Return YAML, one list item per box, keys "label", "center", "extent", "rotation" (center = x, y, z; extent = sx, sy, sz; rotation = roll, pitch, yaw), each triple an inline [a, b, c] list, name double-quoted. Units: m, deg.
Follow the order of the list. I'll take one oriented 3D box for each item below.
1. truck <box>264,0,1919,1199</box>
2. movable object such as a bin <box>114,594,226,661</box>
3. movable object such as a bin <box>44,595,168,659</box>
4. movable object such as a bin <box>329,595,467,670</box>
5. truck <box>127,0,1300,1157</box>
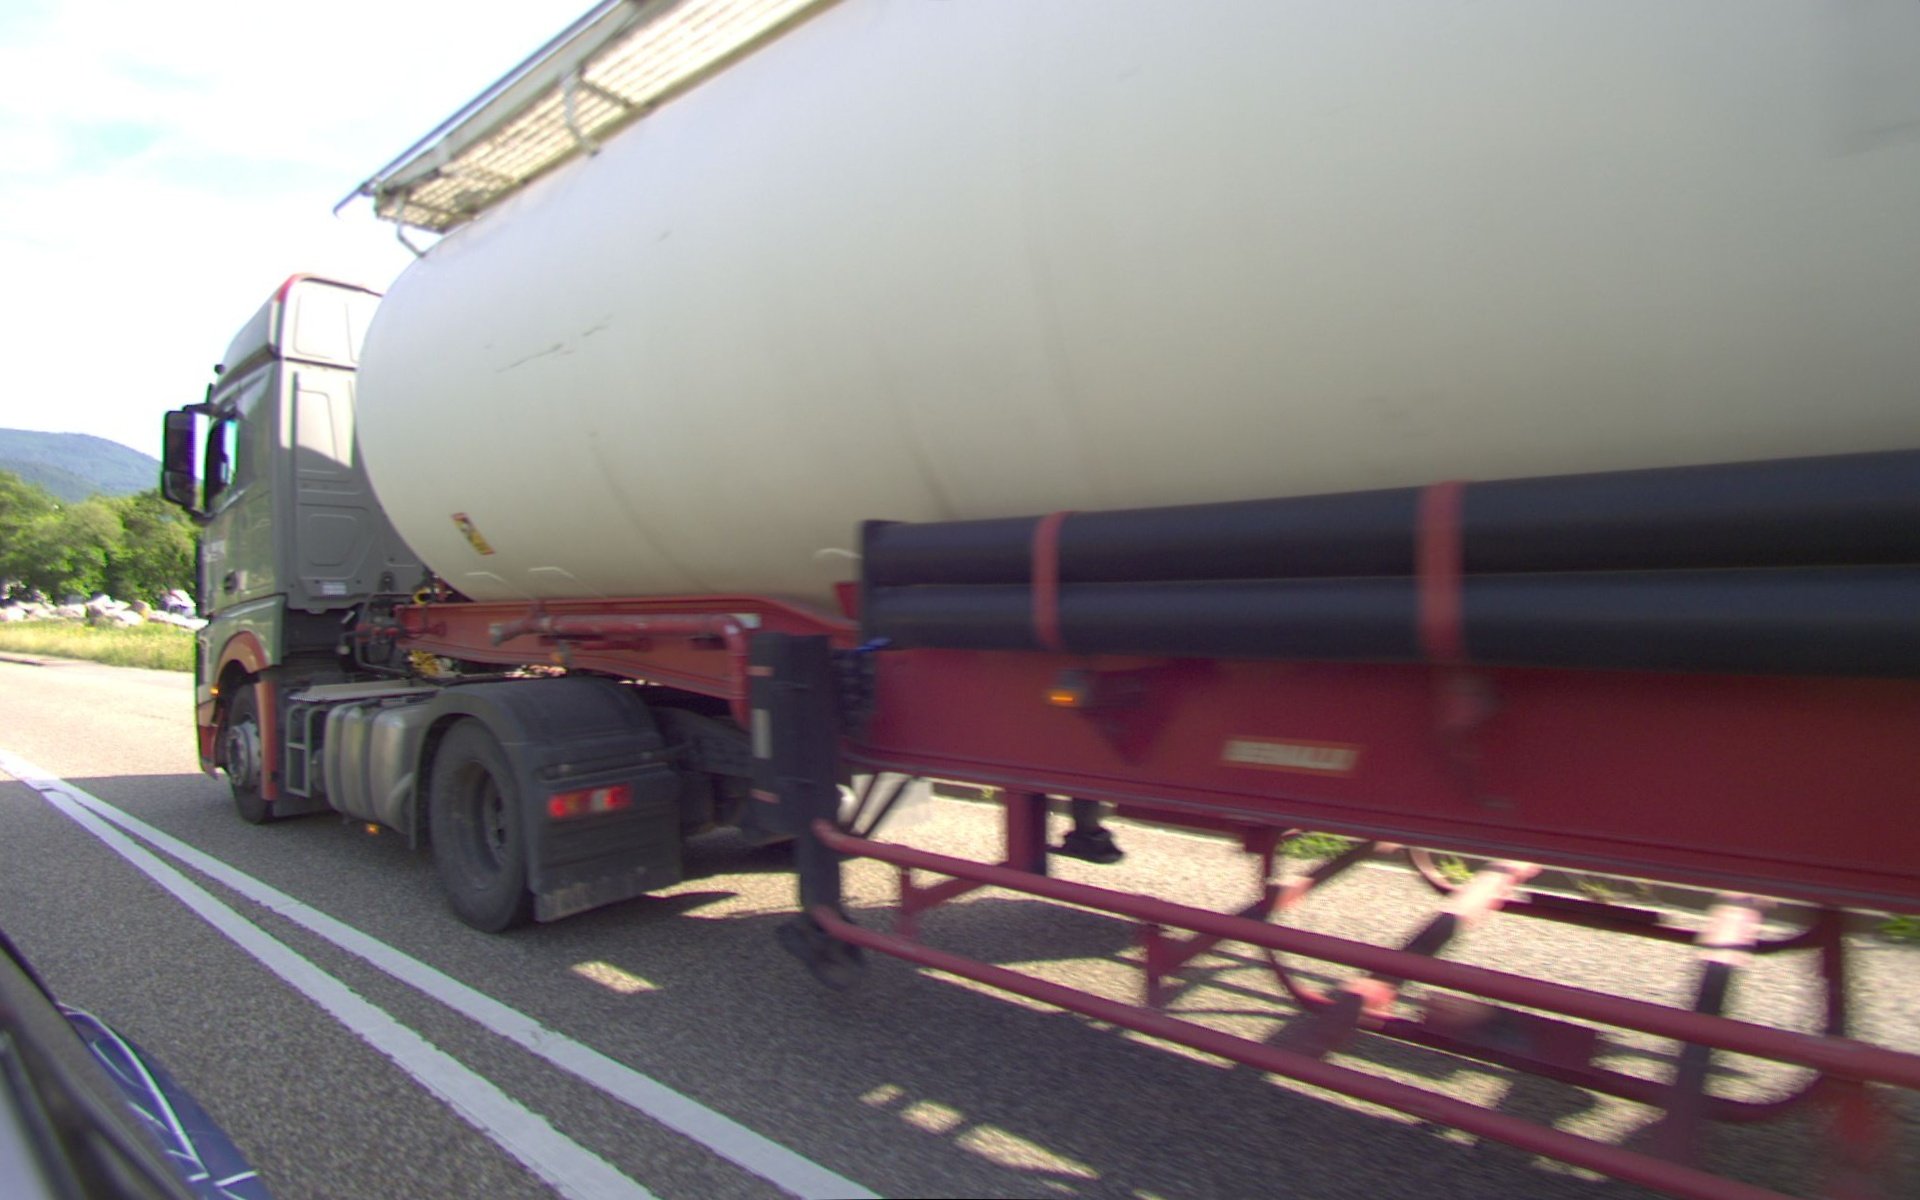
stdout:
- label: "truck"
  center: [2.443, -0.571, 2.139]
  extent: [14.550, 3.864, 2.722]
  rotation: [-2, -2, 40]
- label: "movable object such as a bin"
  center: [-49.565, 1.731, 63.465]
  extent: [7.198, 3.977, 2.703]
  rotation: [0, -4, 29]
- label: "movable object such as a bin"
  center: [-57.083, 1.774, 67.596]
  extent: [9.944, 3.977, 2.682]
  rotation: [0, -4, 29]
- label: "movable object such as a bin"
  center: [-31.606, 1.832, 56.846]
  extent: [7.774, 3.977, 2.879]
  rotation: [0, -4, 29]
- label: "truck"
  center: [-2.455, -0.449, 6.256]
  extent: [8.191, 3.864, 2.722]
  rotation: [-2, -2, 40]
